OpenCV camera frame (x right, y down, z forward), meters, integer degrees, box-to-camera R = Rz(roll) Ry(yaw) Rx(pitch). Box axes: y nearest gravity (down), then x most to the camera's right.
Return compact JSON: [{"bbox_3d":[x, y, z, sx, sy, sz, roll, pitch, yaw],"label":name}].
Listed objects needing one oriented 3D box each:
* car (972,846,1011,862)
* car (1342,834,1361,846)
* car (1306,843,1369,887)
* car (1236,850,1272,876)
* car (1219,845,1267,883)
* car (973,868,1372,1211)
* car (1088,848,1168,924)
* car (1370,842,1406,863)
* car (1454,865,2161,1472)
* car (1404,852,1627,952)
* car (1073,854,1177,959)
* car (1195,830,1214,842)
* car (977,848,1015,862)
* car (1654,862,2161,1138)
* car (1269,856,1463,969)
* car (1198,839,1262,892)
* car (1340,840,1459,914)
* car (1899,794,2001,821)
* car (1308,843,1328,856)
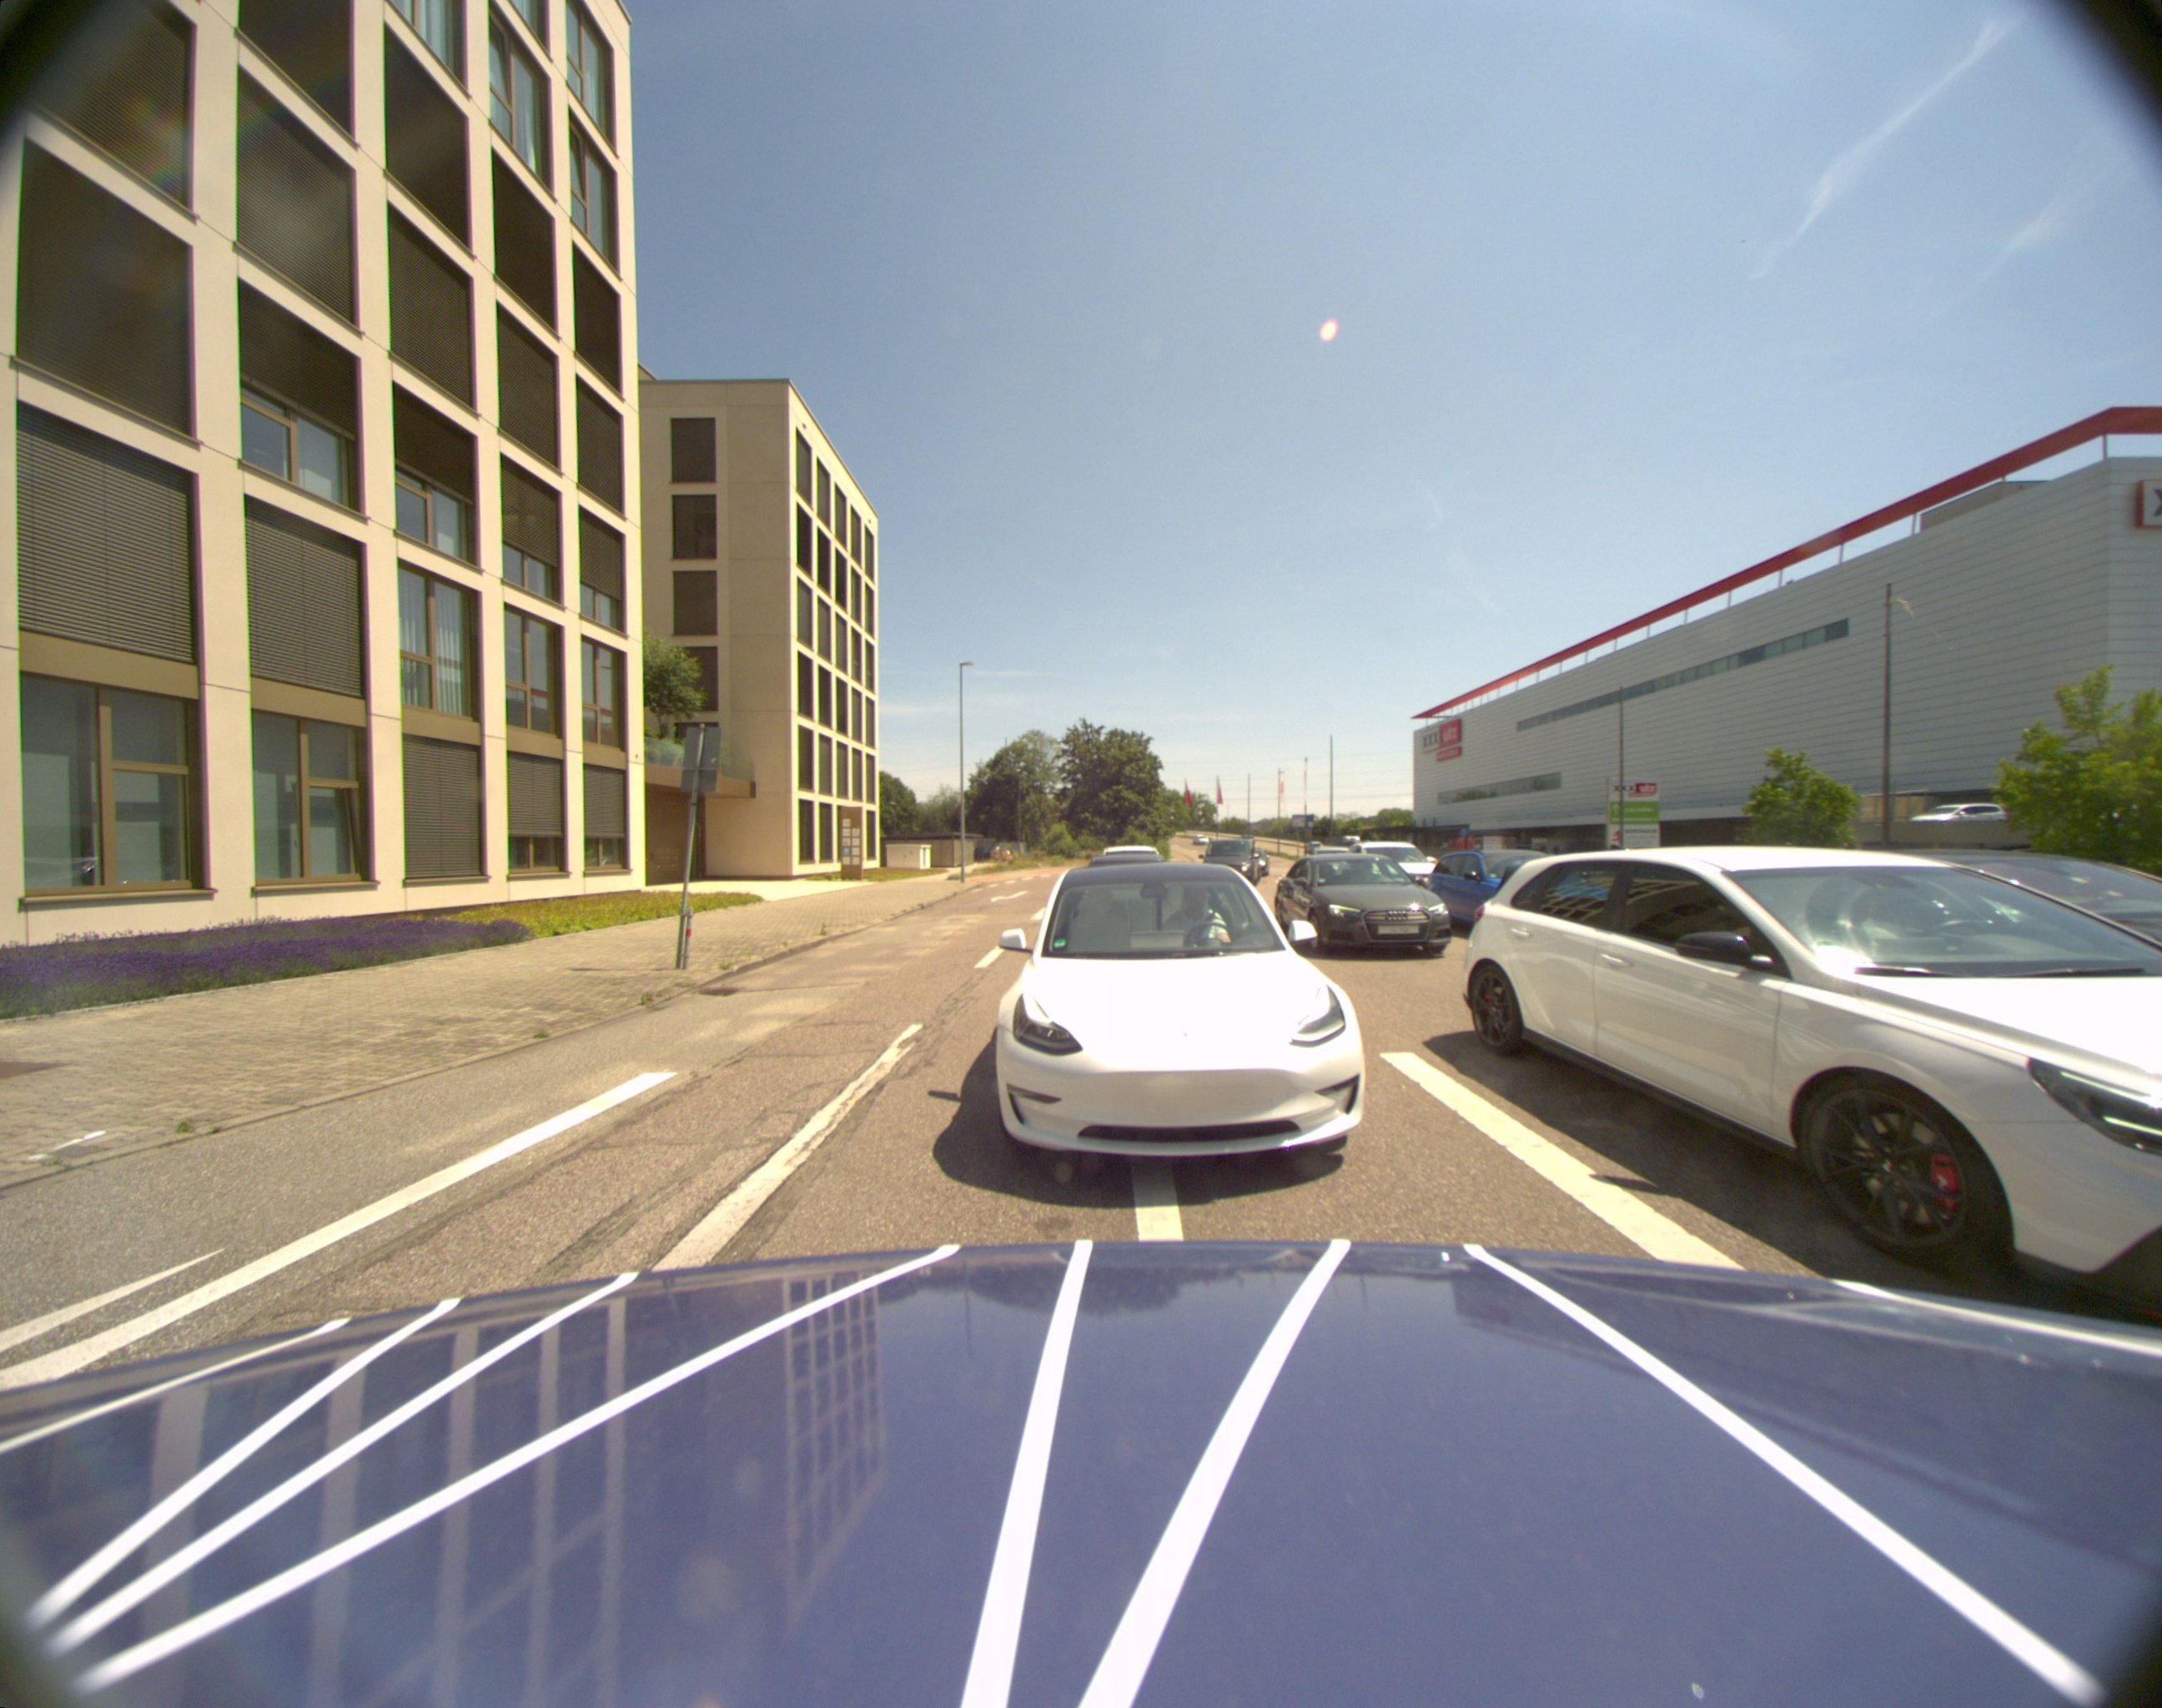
[{"bbox_3d":[-9.304,-0.009,79.168,3.834,1.543,1.736,0,1,-13],"label":"car"},{"bbox_3d":[52.107,-2.648,146.292,2.191,2.270,4.814,0,1,4],"label":"car"},{"bbox_3d":[9.121,0.370,27.268,1.767,1.414,3.903,-2,0,14],"label":"car"},{"bbox_3d":[9.911,0.488,43.382,1.606,1.431,3.738,0,1,19],"label":"car"},{"bbox_3d":[7.554,0.429,35.205,1.811,1.630,4.005,0,1,18],"label":"car"},{"bbox_3d":[0.460,0.919,5.716,1.823,1.428,4.284,-2,1,1],"label":"car"},{"bbox_3d":[1.191,0.700,18.686,1.777,1.600,3.821,0,1,5],"label":"car"},{"bbox_3d":[25.778,-0.125,63.894,1.865,1.713,4.045,0,1,7],"label":"car"},{"bbox_3d":[3.686,0.839,3.664,1.792,1.428,4.070,-2,1,1],"label":"car"},{"bbox_3d":[7.318,0.704,13.390,1.768,1.394,4.433,-3,0,7],"label":"car"},{"bbox_3d":[0.817,0.791,13.308,1.556,1.528,3.822,0,1,5],"label":"car"},{"bbox_3d":[20.463,-3.015,126.442,2.000,1.893,3.997,-2,1,-7],"label":"car"},{"bbox_3d":[-9.131,0.102,81.216,3.834,1.386,1.736,0,1,-13],"label":"car"},{"bbox_3d":[6.613,0.793,5.472,1.675,1.396,4.467,-2,0,2],"label":"car"},{"bbox_3d":[4.126,0.752,11.727,1.769,1.374,4.091,0,1,5],"label":"car"},{"bbox_3d":[5.703,0.365,28.641,1.893,1.811,4.842,0,1,17],"label":"car"},{"bbox_3d":[7.974,0.509,19.466,1.768,1.632,4.494,-2,1,9],"label":"car"},{"bbox_3d":[51.659,-2.763,45.238,3.996,1.499,1.717,0,1,2],"label":"car"},{"bbox_3d":[32.146,-0.625,103.158,1.866,1.713,4.045,0,0,6],"label":"car"}]
